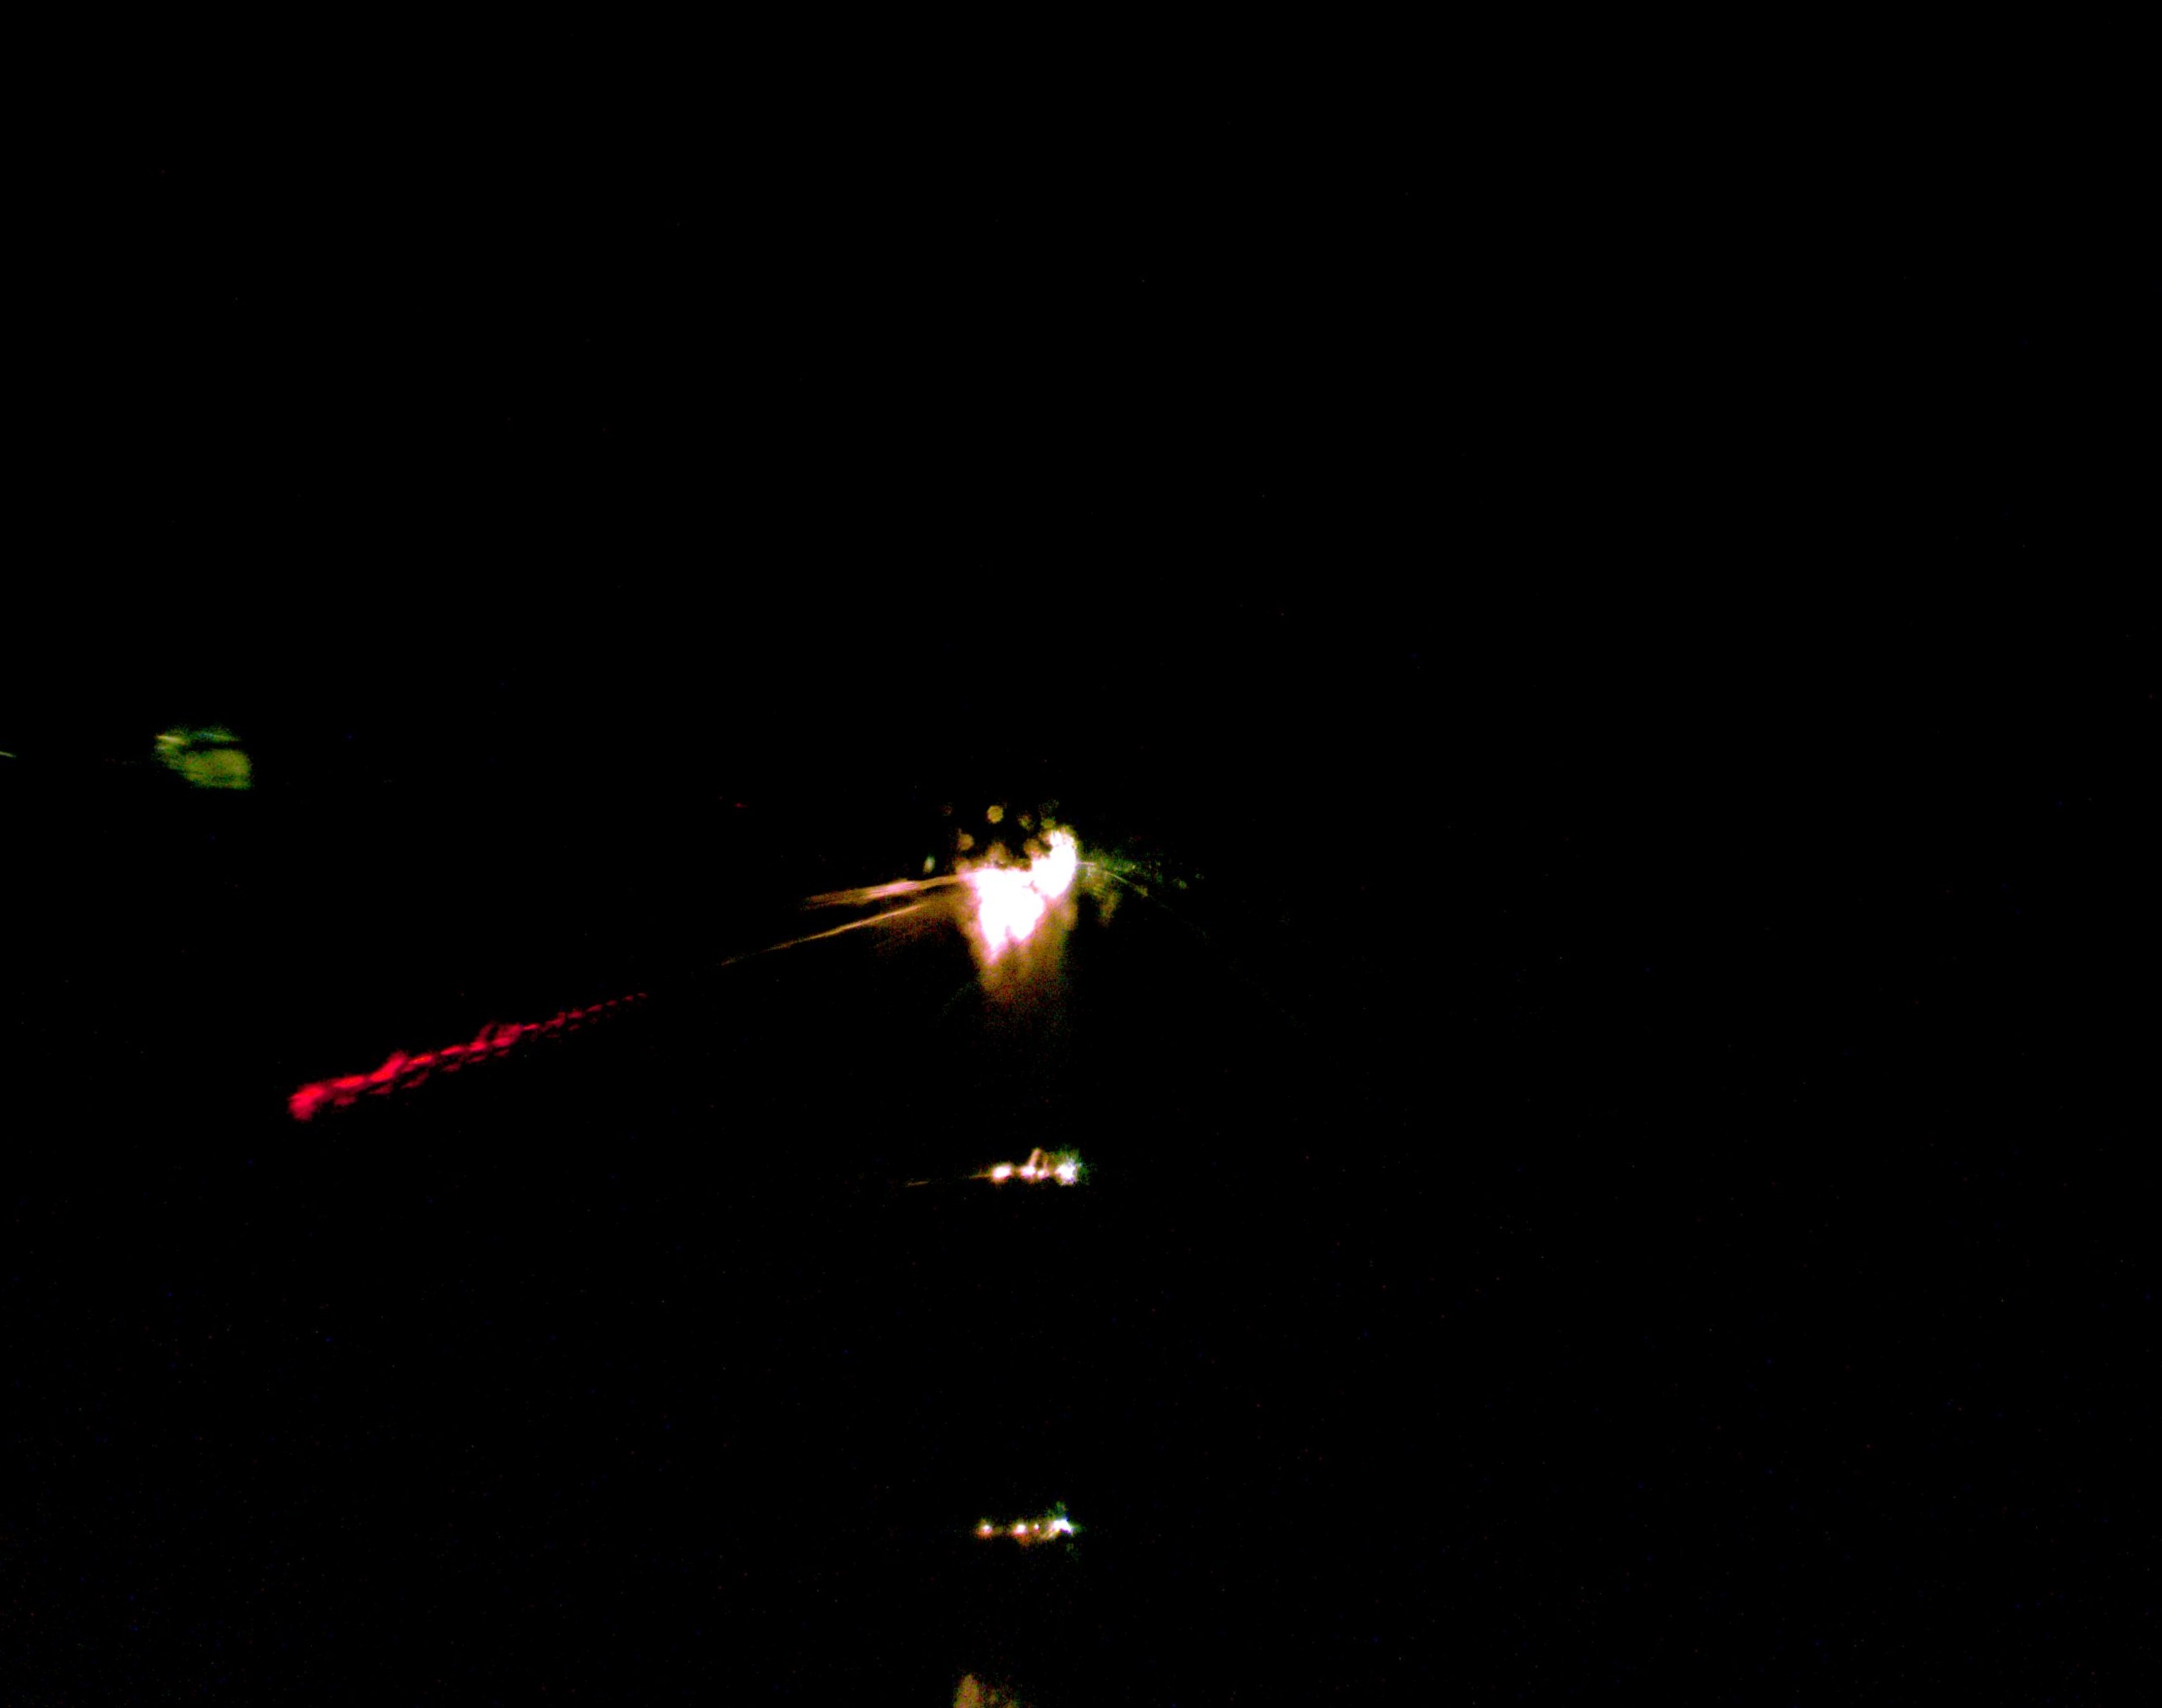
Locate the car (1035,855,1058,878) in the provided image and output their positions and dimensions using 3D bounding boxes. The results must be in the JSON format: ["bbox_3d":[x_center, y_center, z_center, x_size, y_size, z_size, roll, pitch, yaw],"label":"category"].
[{"bbox_3d":[-2.902,1.020,68.886,1.737,1.823,3.876,0,0,-1],"label":"car"}]

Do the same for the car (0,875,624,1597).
[{"bbox_3d":[-3.176,0.804,1.436,1.986,1.393,4.598,-1,0,2],"label":"car"}]

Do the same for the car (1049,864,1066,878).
[{"bbox_3d":[-2.723,1.964,95.924,1.879,1.576,4.048,0,0,-1],"label":"car"}]

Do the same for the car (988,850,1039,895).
[{"bbox_3d":[-2.785,0.741,34.374,1.736,1.760,3.878,0,0,1],"label":"car"}]
